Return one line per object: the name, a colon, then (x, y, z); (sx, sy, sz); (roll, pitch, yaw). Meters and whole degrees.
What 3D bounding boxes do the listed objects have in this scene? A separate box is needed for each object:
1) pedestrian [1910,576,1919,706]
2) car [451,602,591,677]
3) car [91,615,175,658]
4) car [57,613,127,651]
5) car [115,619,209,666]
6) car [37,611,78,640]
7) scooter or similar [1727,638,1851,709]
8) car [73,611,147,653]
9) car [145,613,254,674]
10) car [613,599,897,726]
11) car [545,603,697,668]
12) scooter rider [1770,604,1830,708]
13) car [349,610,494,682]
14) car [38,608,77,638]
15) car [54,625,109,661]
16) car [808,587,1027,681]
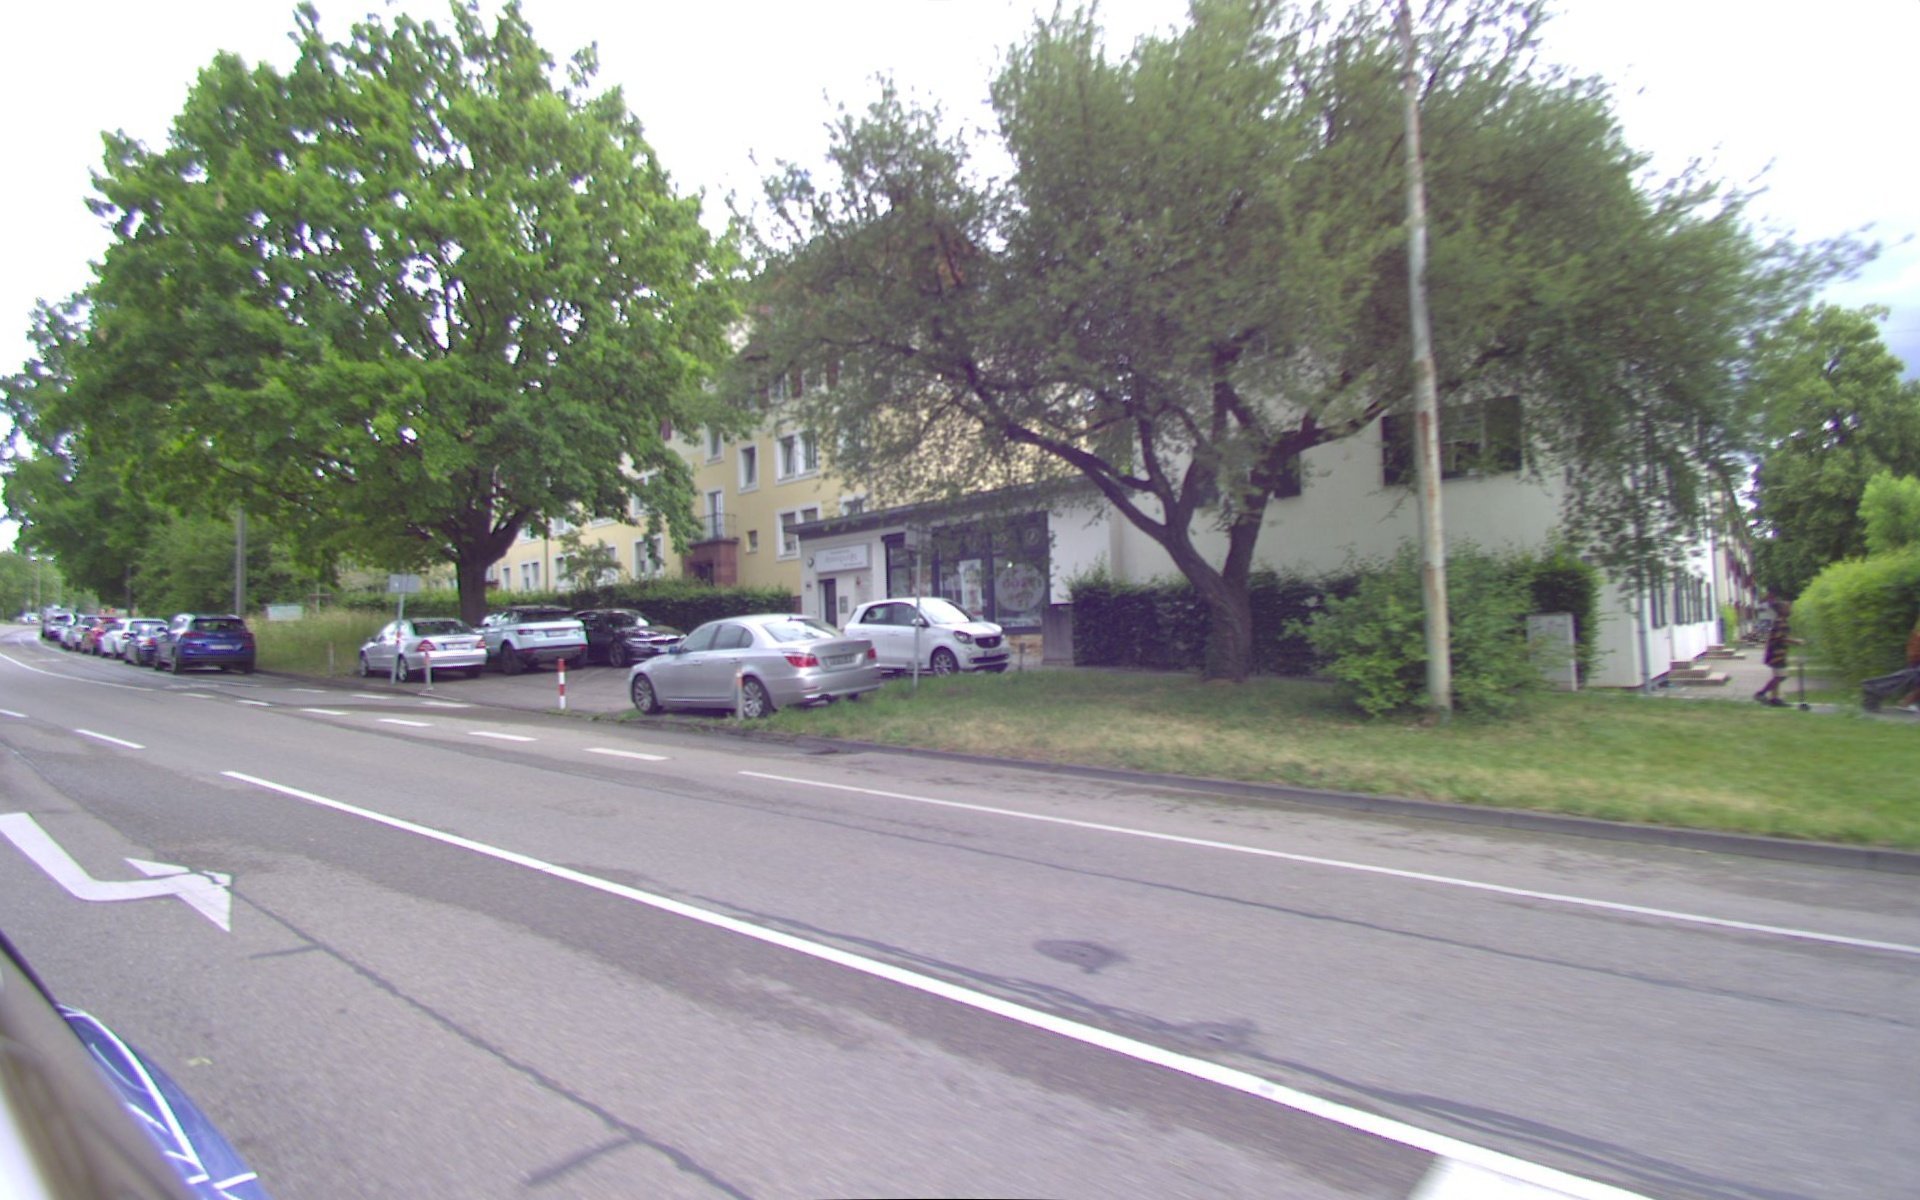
pedestrian: (12.475, 0.502, 12.616); (0.829, 1.625, 0.624); (-1, -1, 38)
car: (-11.011, 0.937, 25.283); (4.001, 1.645, 1.742); (-1, 1, 44)
car: (-30.435, 1.295, 37.197); (4.756, 1.470, 1.697); (-1, -1, 42)
car: (-38.033, 1.371, 44.315); (4.119, 1.585, 1.848); (-1, -1, 42)
car: (-25.794, 1.318, 32.652); (4.337, 1.400, 1.697); (-1, -2, 42)
car: (-53.411, 1.509, 59.850); (1.745, 1.646, 4.162); (1, -2, -42)
scooter or similar: (10.560, 0.917, 12.923); (1.201, 0.850, 0.322); (-1, -1, 41)
car: (-34.081, 1.241, 40.528); (4.370, 1.585, 1.697); (-1, -1, 42)
car: (-21.928, 1.244, 29.117); (4.534, 1.625, 1.697); (-3, -2, 42)
car: (-3.257, 0.848, 15.428); (4.751, 1.645, 1.743); (-1, -1, 42)
car: (-8.899, 0.895, 26.378); (4.438, 1.481, 1.743); (-1, 1, 41)
scooter rider: (10.651, 0.700, 12.829); (0.559, 1.286, 0.347); (-1, -1, 41)
car: (-12.825, 1.027, 23.980); (4.392, 1.547, 1.742); (-1, -1, 44)
car: (-60.568, 1.545, 67.872); (1.844, 1.978, 5.132); (1, -2, -43)
car: (-41.996, 2.014, 48.334); (1.746, 1.585, 4.764); (2, -2, -43)
car: (-0.915, 0.628, 19.920); (4.285, 1.645, 1.743); (-1, -1, 41)
